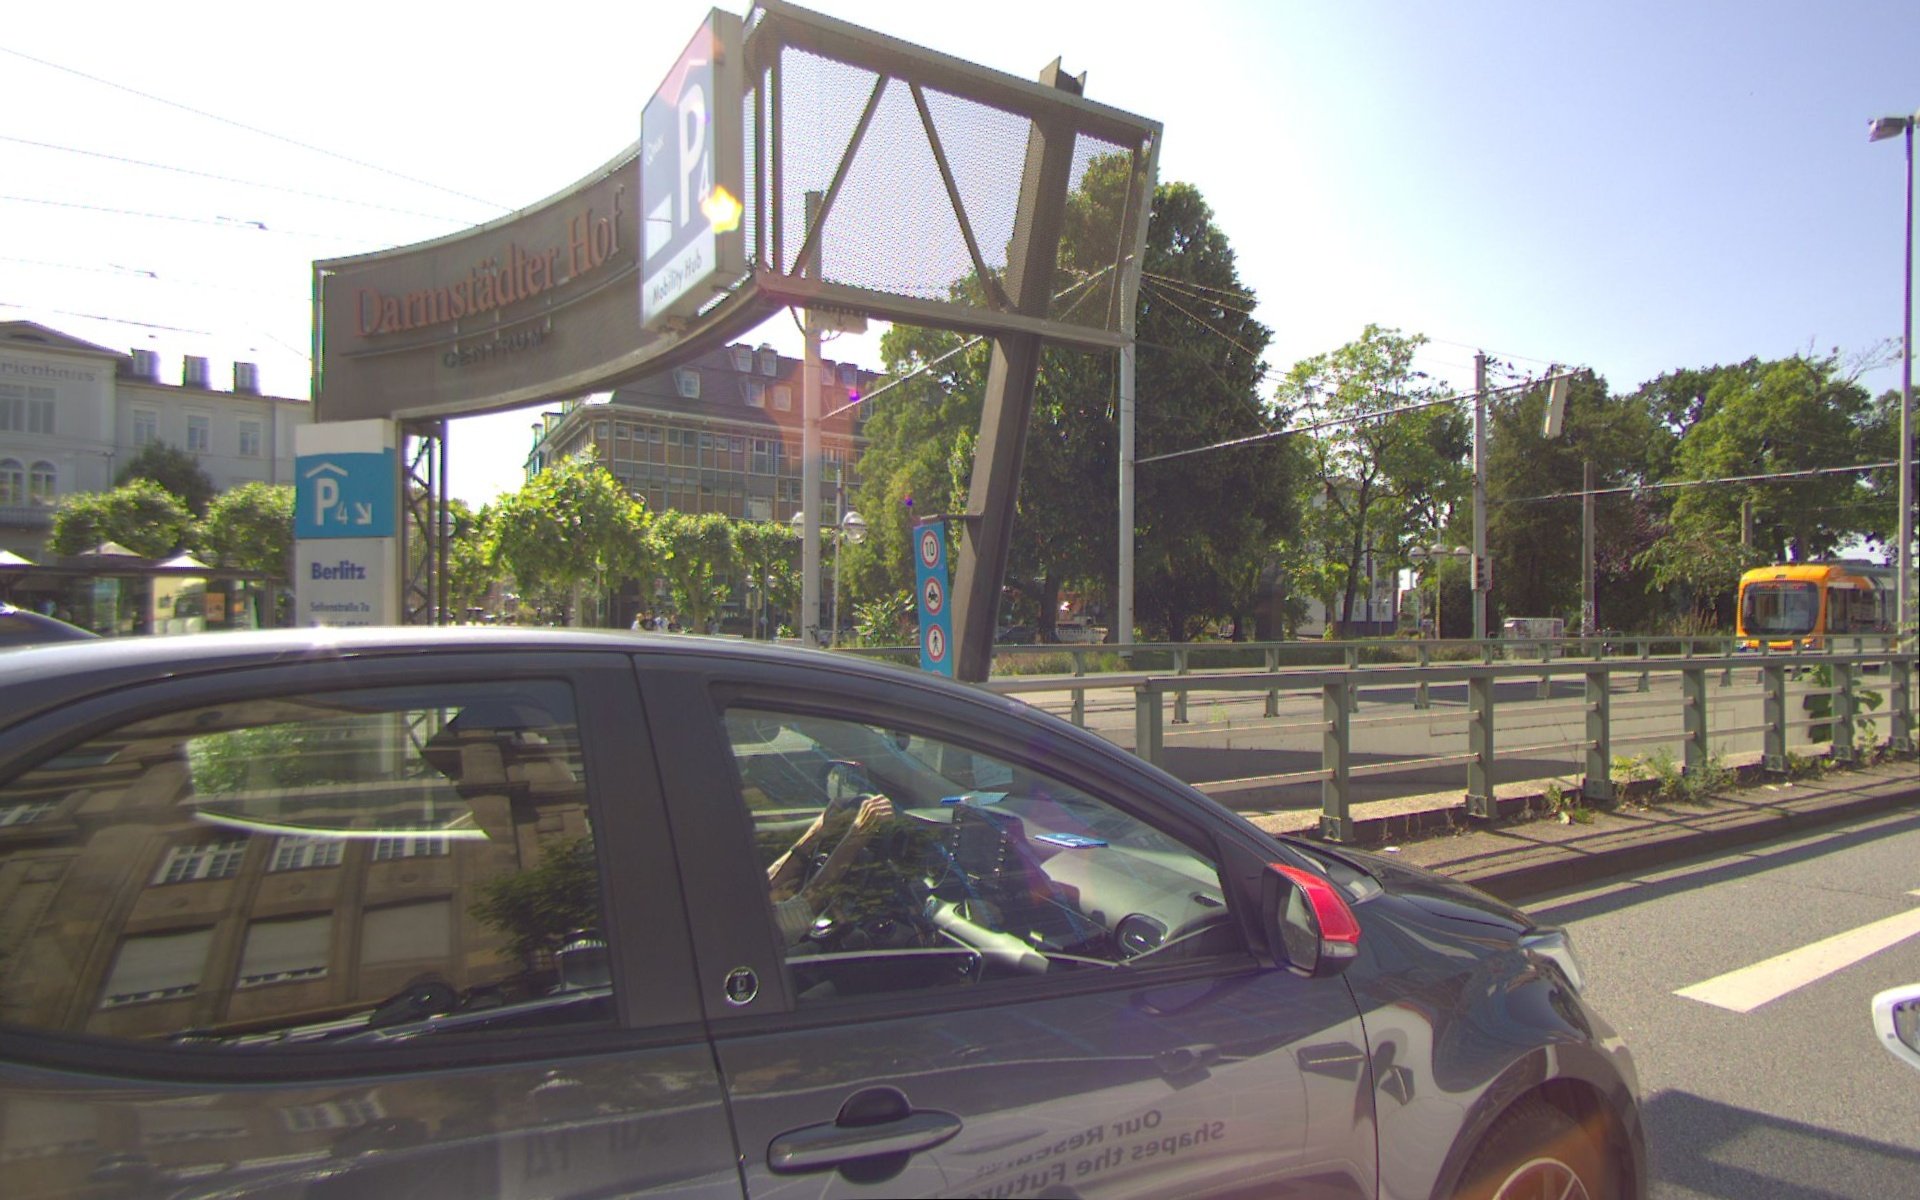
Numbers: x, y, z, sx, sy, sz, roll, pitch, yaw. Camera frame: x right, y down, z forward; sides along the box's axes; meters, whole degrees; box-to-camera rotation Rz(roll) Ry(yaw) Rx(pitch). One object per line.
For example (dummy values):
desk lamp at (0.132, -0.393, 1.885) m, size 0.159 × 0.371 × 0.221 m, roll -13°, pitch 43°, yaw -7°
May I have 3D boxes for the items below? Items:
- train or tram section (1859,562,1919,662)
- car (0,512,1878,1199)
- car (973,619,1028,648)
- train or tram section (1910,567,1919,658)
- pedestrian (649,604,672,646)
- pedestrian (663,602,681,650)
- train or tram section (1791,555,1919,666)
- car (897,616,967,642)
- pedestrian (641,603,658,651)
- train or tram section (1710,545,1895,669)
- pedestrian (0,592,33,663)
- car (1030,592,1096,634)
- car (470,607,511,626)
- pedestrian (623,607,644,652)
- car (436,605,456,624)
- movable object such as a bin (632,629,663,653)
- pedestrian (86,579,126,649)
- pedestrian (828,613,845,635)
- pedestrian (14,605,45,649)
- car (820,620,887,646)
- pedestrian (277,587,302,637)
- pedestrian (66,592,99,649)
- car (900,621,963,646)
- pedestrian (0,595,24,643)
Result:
train or tram section at (36.992, 0.481, 38.201) m, size 5.295 × 3.629 × 2.600 m, roll 1°, pitch 1°, yaw -31°
car at (-0.322, 0.726, 1.842) m, size 3.950 × 1.494 × 1.770 m, roll 1°, pitch -2°, yaw -28°
car at (3.040, 2.525, 75.159) m, size 3.602 × 2.041 × 1.983 m, roll 1°, pitch 1°, yaw -31°
train or tram section at (42.154, 0.608, 41.305) m, size 6.818 × 3.629 × 2.600 m, roll 1°, pitch 1°, yaw -31°
pedestrian at (-10.941, 0.933, 36.694) m, size 0.655 × 1.512 × 0.521 m, roll 1°, pitch -3°, yaw -38°
pedestrian at (-10.000, 0.904, 34.878) m, size 0.491 × 1.630 × 0.410 m, roll 1°, pitch -3°, yaw -39°
train or tram section at (32.152, 0.362, 35.280) m, size 6.033 × 3.629 × 2.600 m, roll 1°, pitch 1°, yaw -31°
car at (-1.945, 2.033, 70.689) m, size 4.798 × 1.685 × 1.743 m, roll 1°, pitch 1°, yaw -36°
pedestrian at (-10.590, 0.928, 34.270) m, size 0.460 × 1.630 × 0.449 m, roll 0°, pitch -2°, yaw -30°
train or tram section at (27.017, 0.236, 32.176) m, size 6.033 × 3.629 × 2.600 m, roll 1°, pitch 1°, yaw -31°
pedestrian at (-23.657, 0.687, 25.003) m, size 0.670 × 1.728 × 0.700 m, roll 1°, pitch -2°, yaw -28°
car at (8.767, 1.099, 85.323) m, size 5.358 × 3.361 × 2.115 m, roll 1°, pitch 1°, yaw -31°
car at (-52.285, 1.830, 111.807) m, size 3.954 × 1.940 × 1.983 m, roll 1°, pitch 1°, yaw -31°
pedestrian at (-12.195, 1.106, 37.494) m, size 0.615 × 1.630 × 0.488 m, roll 1°, pitch -3°, yaw -40°
car at (-58.269, 1.589, 113.845) m, size 1.975 × 1.940 × 3.970 m, roll 1°, pitch 1°, yaw -28°
movable object such as a bin at (-10.349, 1.353, 33.270) m, size 0.790 × 0.764 × 0.903 m, roll 0°, pitch -3°, yaw -30°
pedestrian at (-25.290, 0.430, 29.742) m, size 0.726 × 2.034 × 0.627 m, roll 0°, pitch -2°, yaw -25°
pedestrian at (-7.274, 1.436, 59.187) m, size 0.655 × 1.279 × 0.743 m, roll 1°, pitch -3°, yaw -42°
pedestrian at (-29.296, 0.850, 31.621) m, size 0.591 × 1.377 × 0.565 m, roll 1°, pitch -2°, yaw -31°
car at (-6.810, 2.078, 64.329) m, size 3.962 × 1.528 × 1.743 m, roll 1°, pitch 1°, yaw -36°
pedestrian at (-27.645, 0.493, 41.421) m, size 0.822 × 2.034 × 0.598 m, roll 1°, pitch -2°, yaw -33°
pedestrian at (-27.162, 0.650, 31.091) m, size 0.612 × 1.751 × 0.737 m, roll 1°, pitch -2°, yaw -31°
car at (-1.901, 2.254, 67.902) m, size 3.962 × 1.528 × 1.743 m, roll 1°, pitch 1°, yaw -36°
pedestrian at (-28.537, 0.570, 30.089) m, size 0.591 × 1.409 × 0.565 m, roll 1°, pitch -2°, yaw -31°
